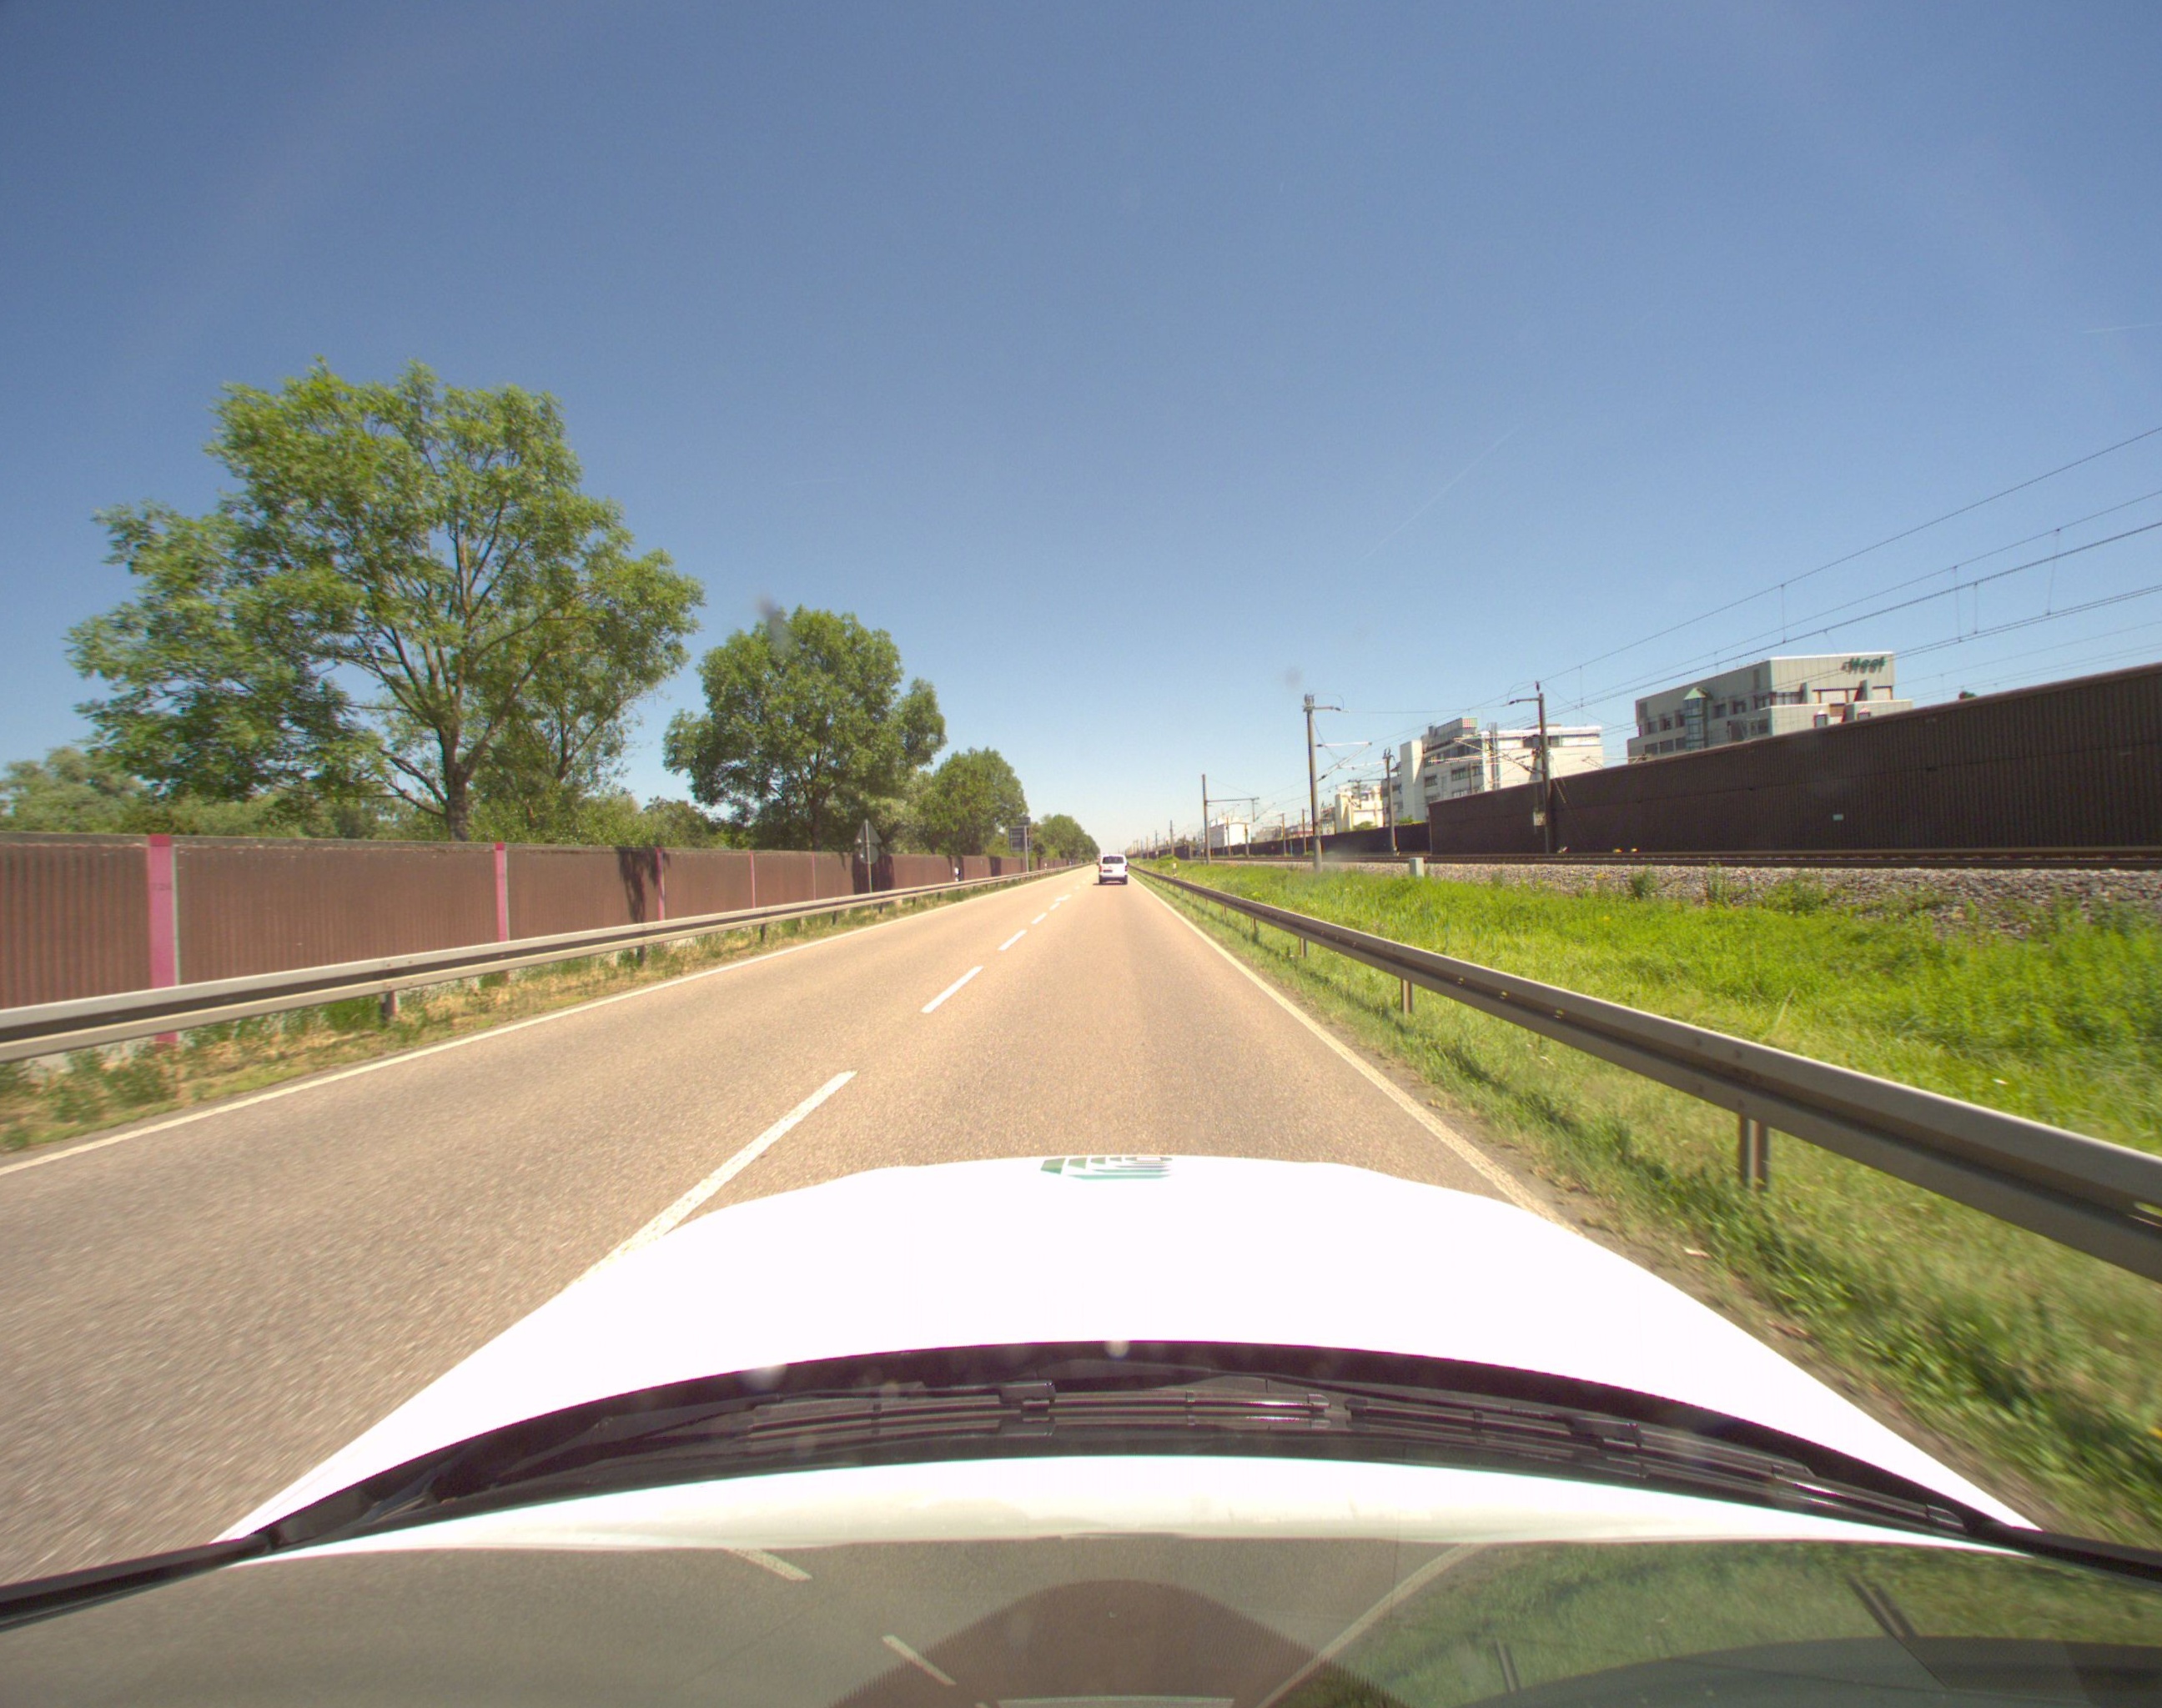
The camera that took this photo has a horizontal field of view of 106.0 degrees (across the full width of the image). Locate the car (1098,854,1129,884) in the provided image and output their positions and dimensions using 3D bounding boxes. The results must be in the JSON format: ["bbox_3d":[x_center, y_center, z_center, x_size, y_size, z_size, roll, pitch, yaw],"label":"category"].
[{"bbox_3d":[2.139,0.965,53.724,1.938,1.881,4.883,-1,-1,2],"label":"car"}]
